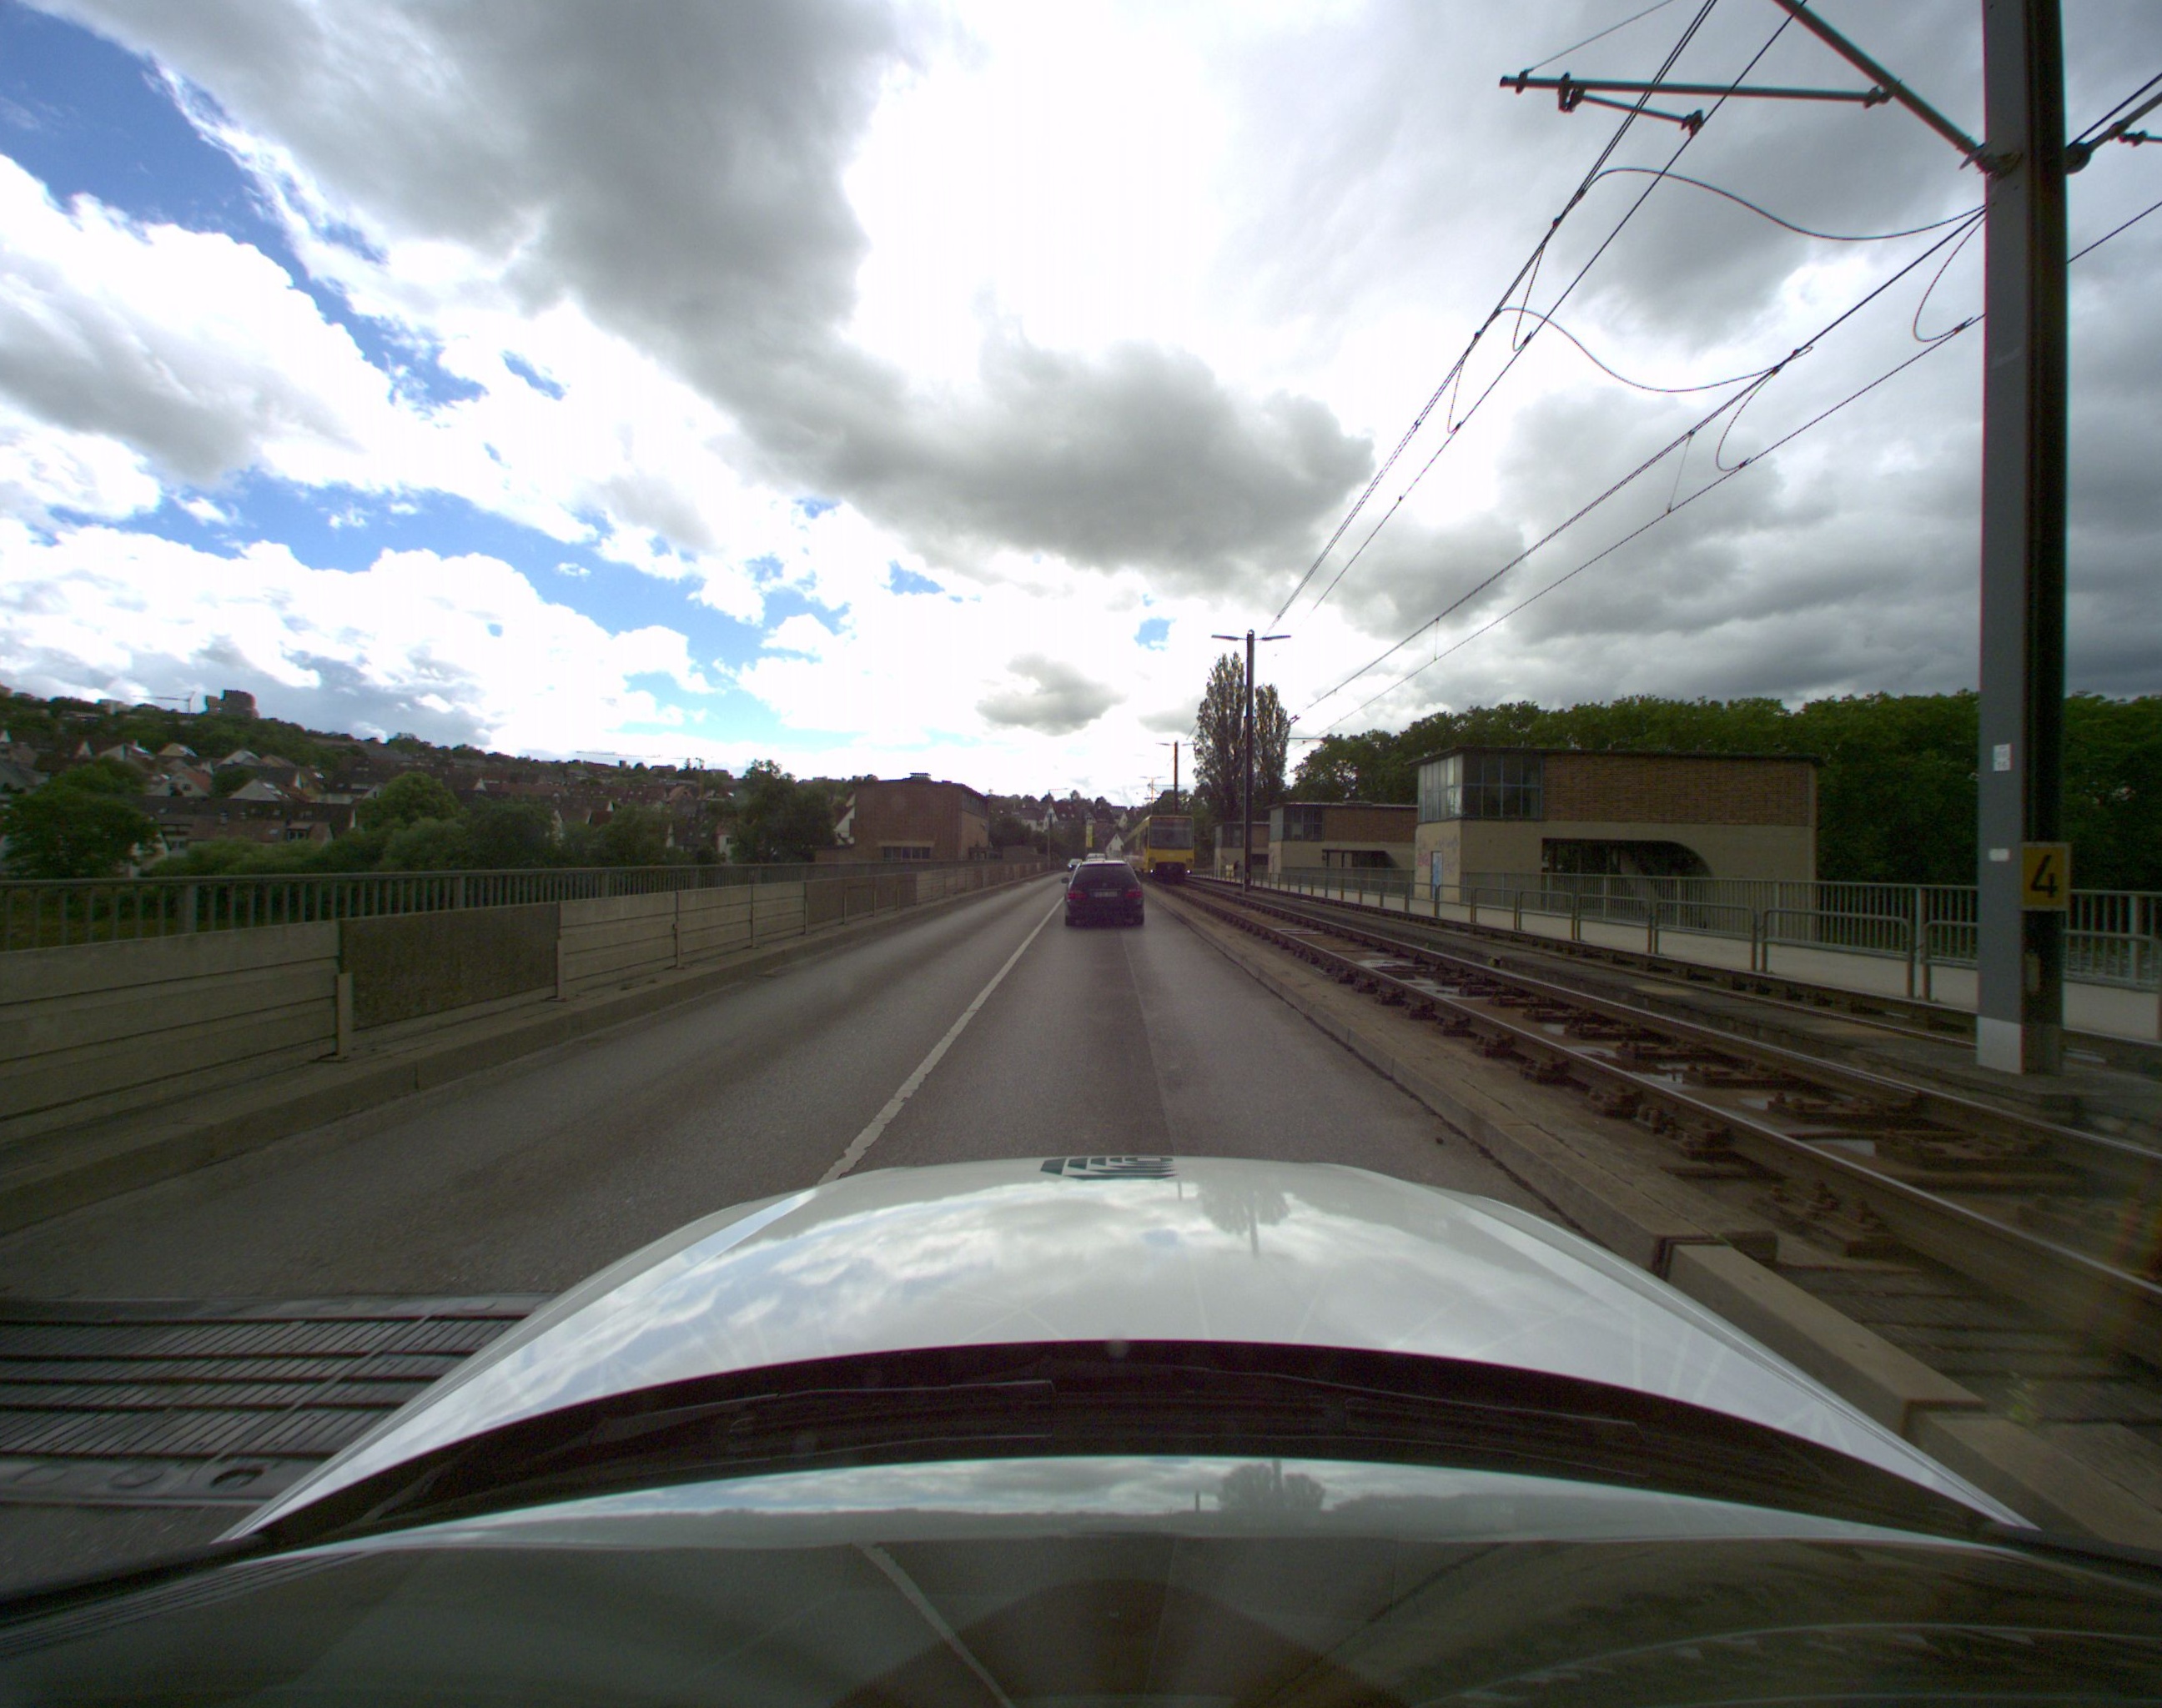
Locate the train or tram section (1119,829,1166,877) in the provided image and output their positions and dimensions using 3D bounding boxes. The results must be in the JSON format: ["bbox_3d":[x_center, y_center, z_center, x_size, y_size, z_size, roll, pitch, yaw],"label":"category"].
[{"bbox_3d":[5.083,-0.056,70.610,2.820,3.580,18.668,-1,0,1],"label":"train or tram section"}]

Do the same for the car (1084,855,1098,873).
[{"bbox_3d":[1.498,1.389,118.966,2.026,2.561,7.009,0,0,1],"label":"car"}]

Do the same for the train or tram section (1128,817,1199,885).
[{"bbox_3d":[4.832,-0.127,51.898,2.872,3.509,18.668,-1,0,1],"label":"train or tram section"}]

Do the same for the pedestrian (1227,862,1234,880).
[{"bbox_3d":[13.387,1.556,72.857,0.575,1.610,0.613,0,-1,2],"label":"pedestrian"}]

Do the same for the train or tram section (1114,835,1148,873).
[{"bbox_3d":[5.284,0.080,89.876,2.775,3.656,19.893,-2,-1,1],"label":"train or tram section"}]

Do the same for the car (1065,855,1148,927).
[{"bbox_3d":[0.623,0.801,19.648,1.752,1.515,4.444,-1,0,2],"label":"car"}]

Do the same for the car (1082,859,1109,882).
[{"bbox_3d":[0.996,1.109,56.712,1.765,1.555,4.239,0,0,-1],"label":"car"}]

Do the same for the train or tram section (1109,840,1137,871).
[{"bbox_3d":[5.539,0.287,109.775,2.784,3.764,19.889,1,-1,0],"label":"train or tram section"}]

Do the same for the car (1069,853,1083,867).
[{"bbox_3d":[-0.594,0.782,100.420,1.709,1.645,4.000,-1,0,1],"label":"car"}]
